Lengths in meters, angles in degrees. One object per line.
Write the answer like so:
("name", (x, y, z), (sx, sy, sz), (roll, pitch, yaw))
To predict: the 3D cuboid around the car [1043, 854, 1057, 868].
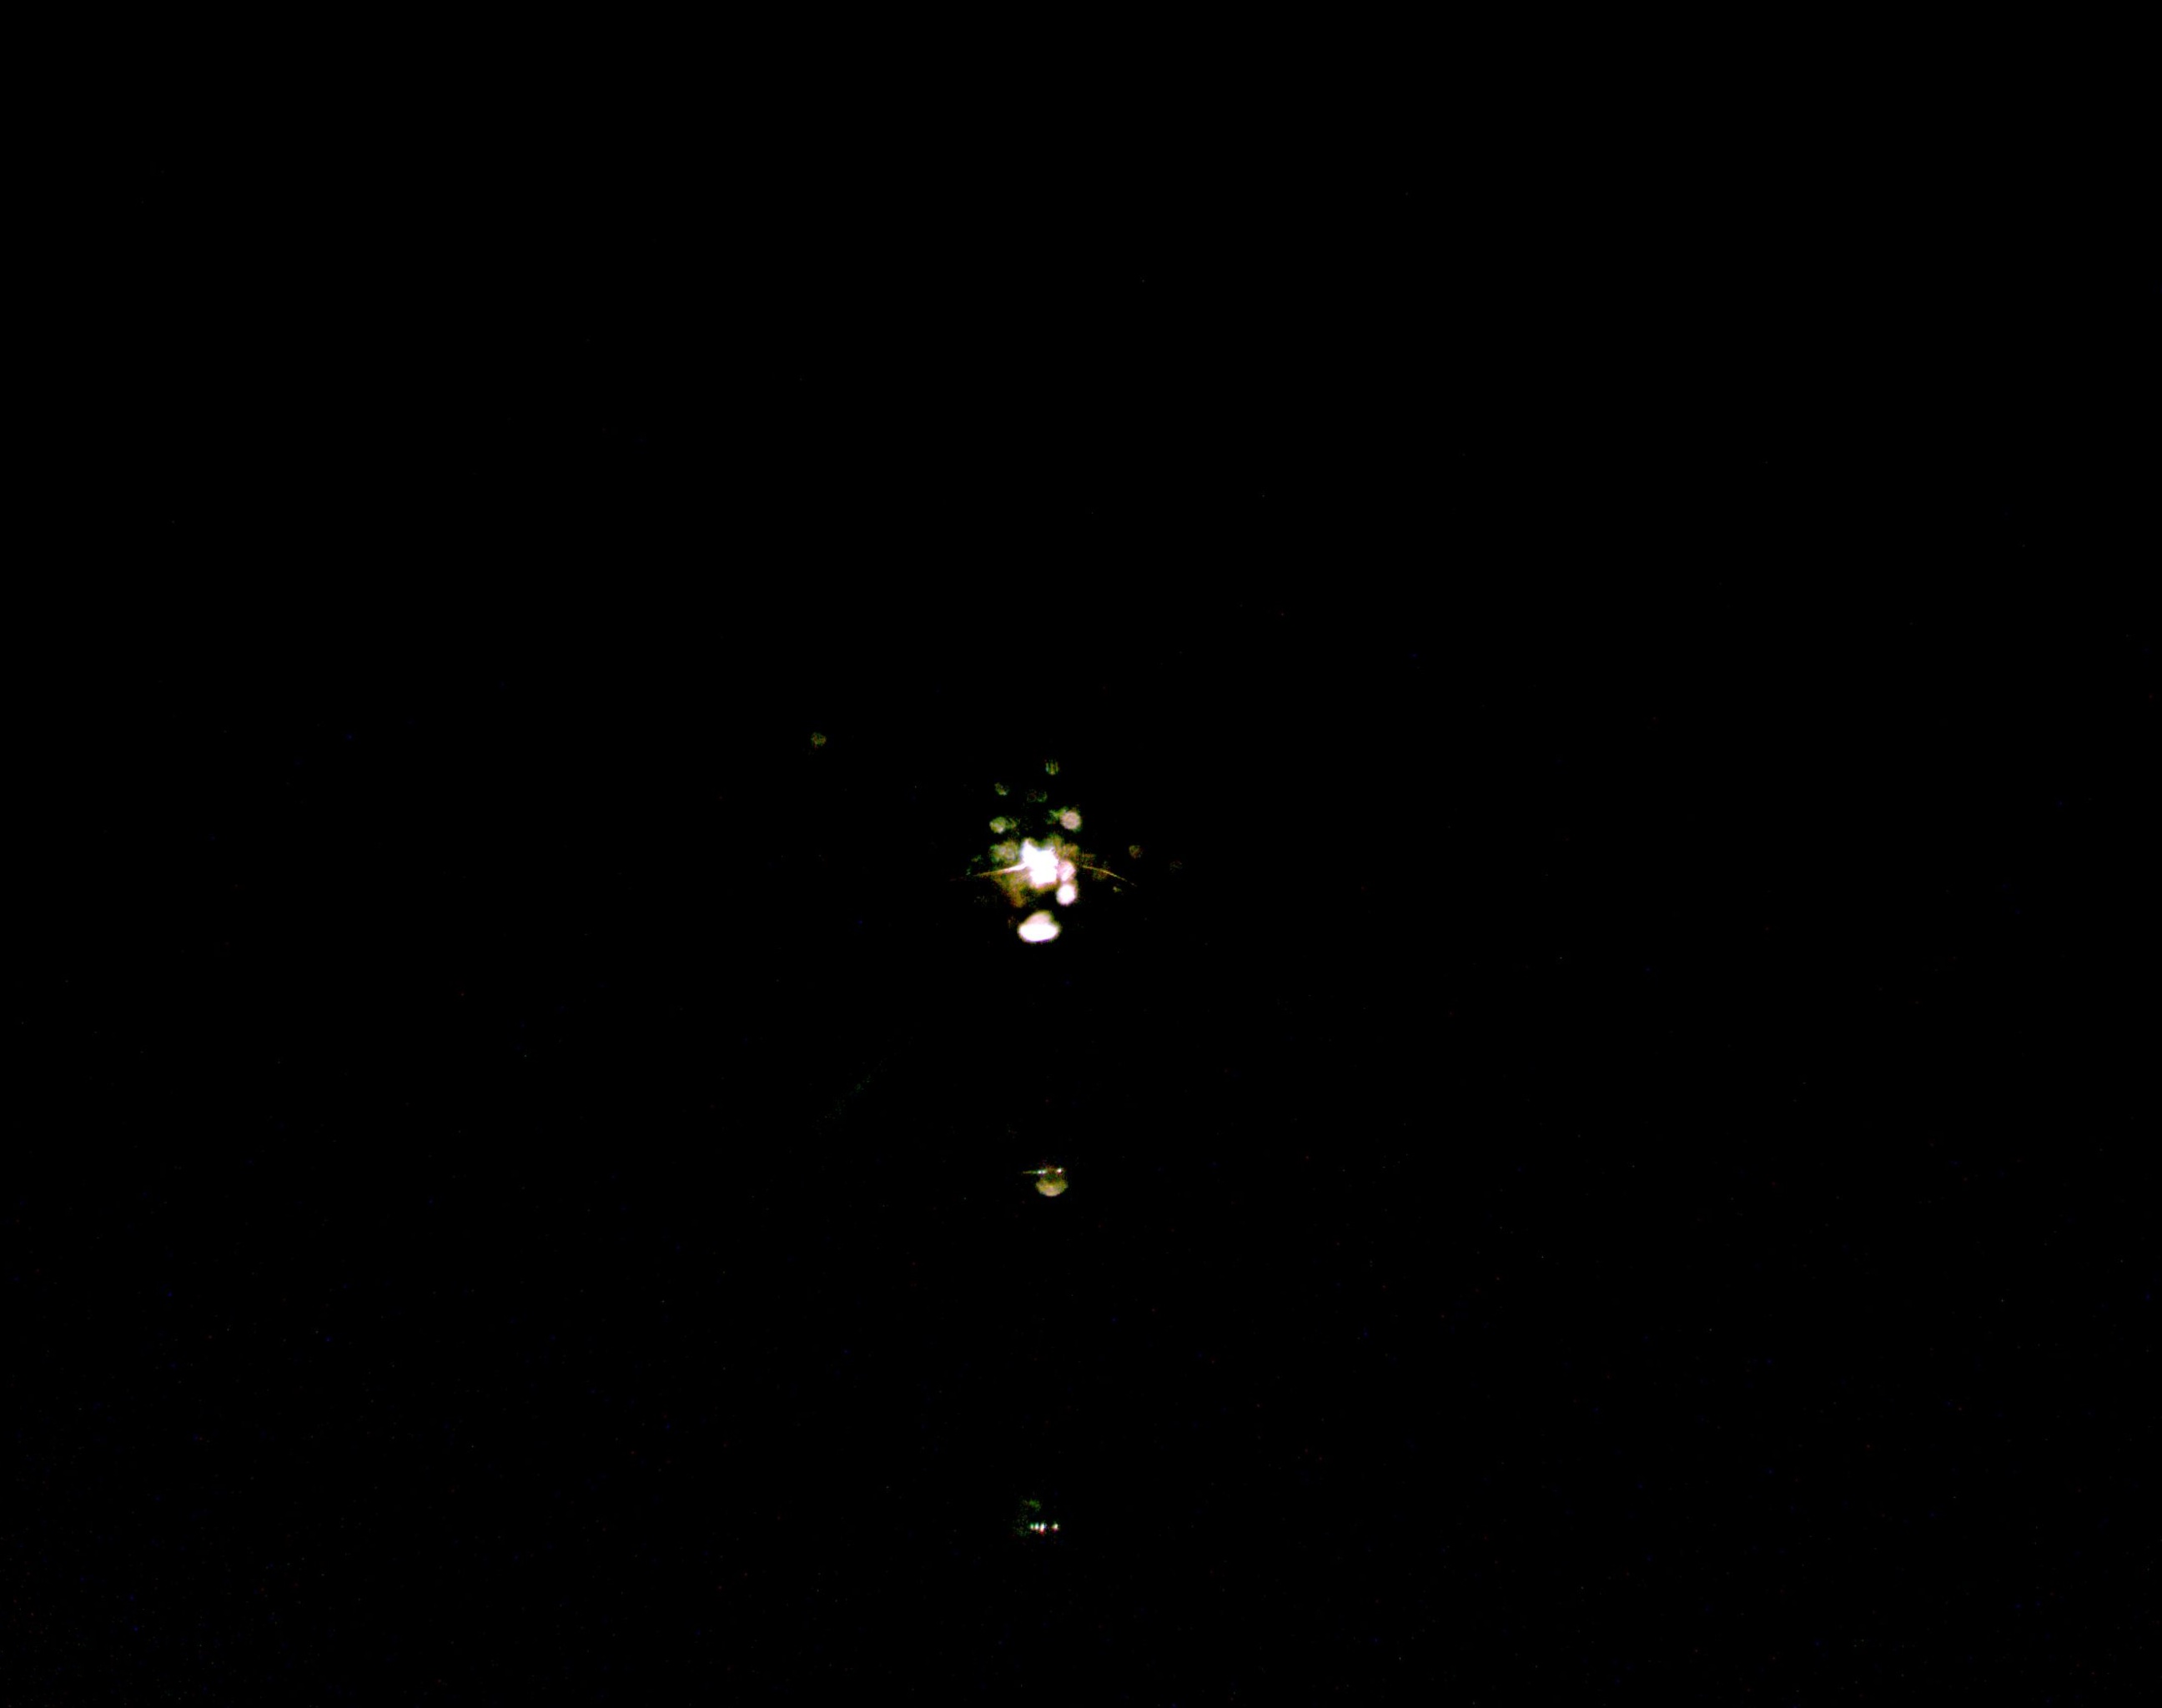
("car", (-3.835, 0.840, 100.680), (1.767, 1.675, 4.050), (0, 0, -3))
